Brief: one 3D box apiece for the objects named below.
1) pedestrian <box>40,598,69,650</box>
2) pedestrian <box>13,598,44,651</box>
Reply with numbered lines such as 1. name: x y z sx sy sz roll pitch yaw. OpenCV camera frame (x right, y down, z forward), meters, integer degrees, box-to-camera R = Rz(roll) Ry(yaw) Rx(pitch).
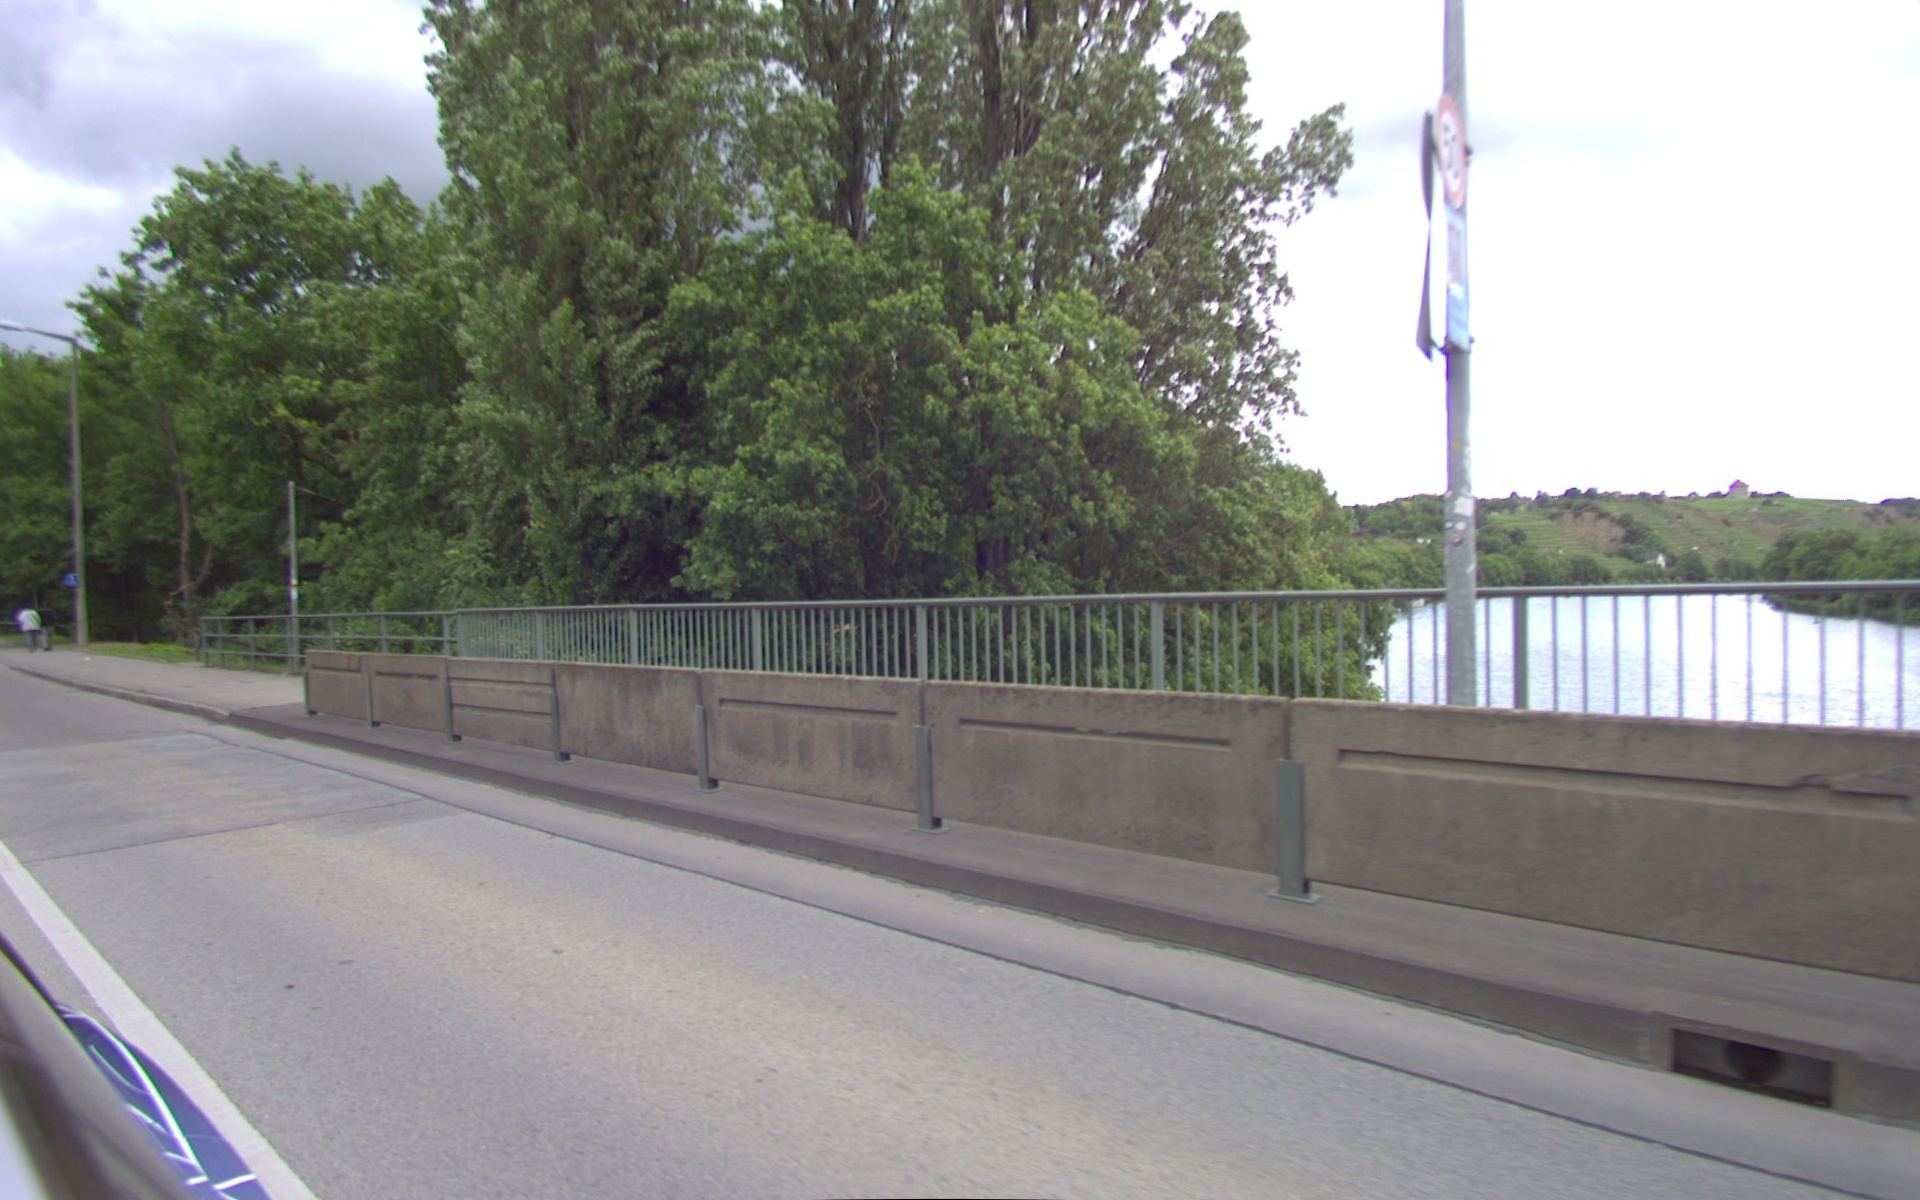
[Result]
1. pedestrian: -32.486 0.846 36.305 0.821 1.816 0.581 -1 2 39
2. pedestrian: -32.885 0.865 35.711 0.857 1.778 0.546 -1 4 39
